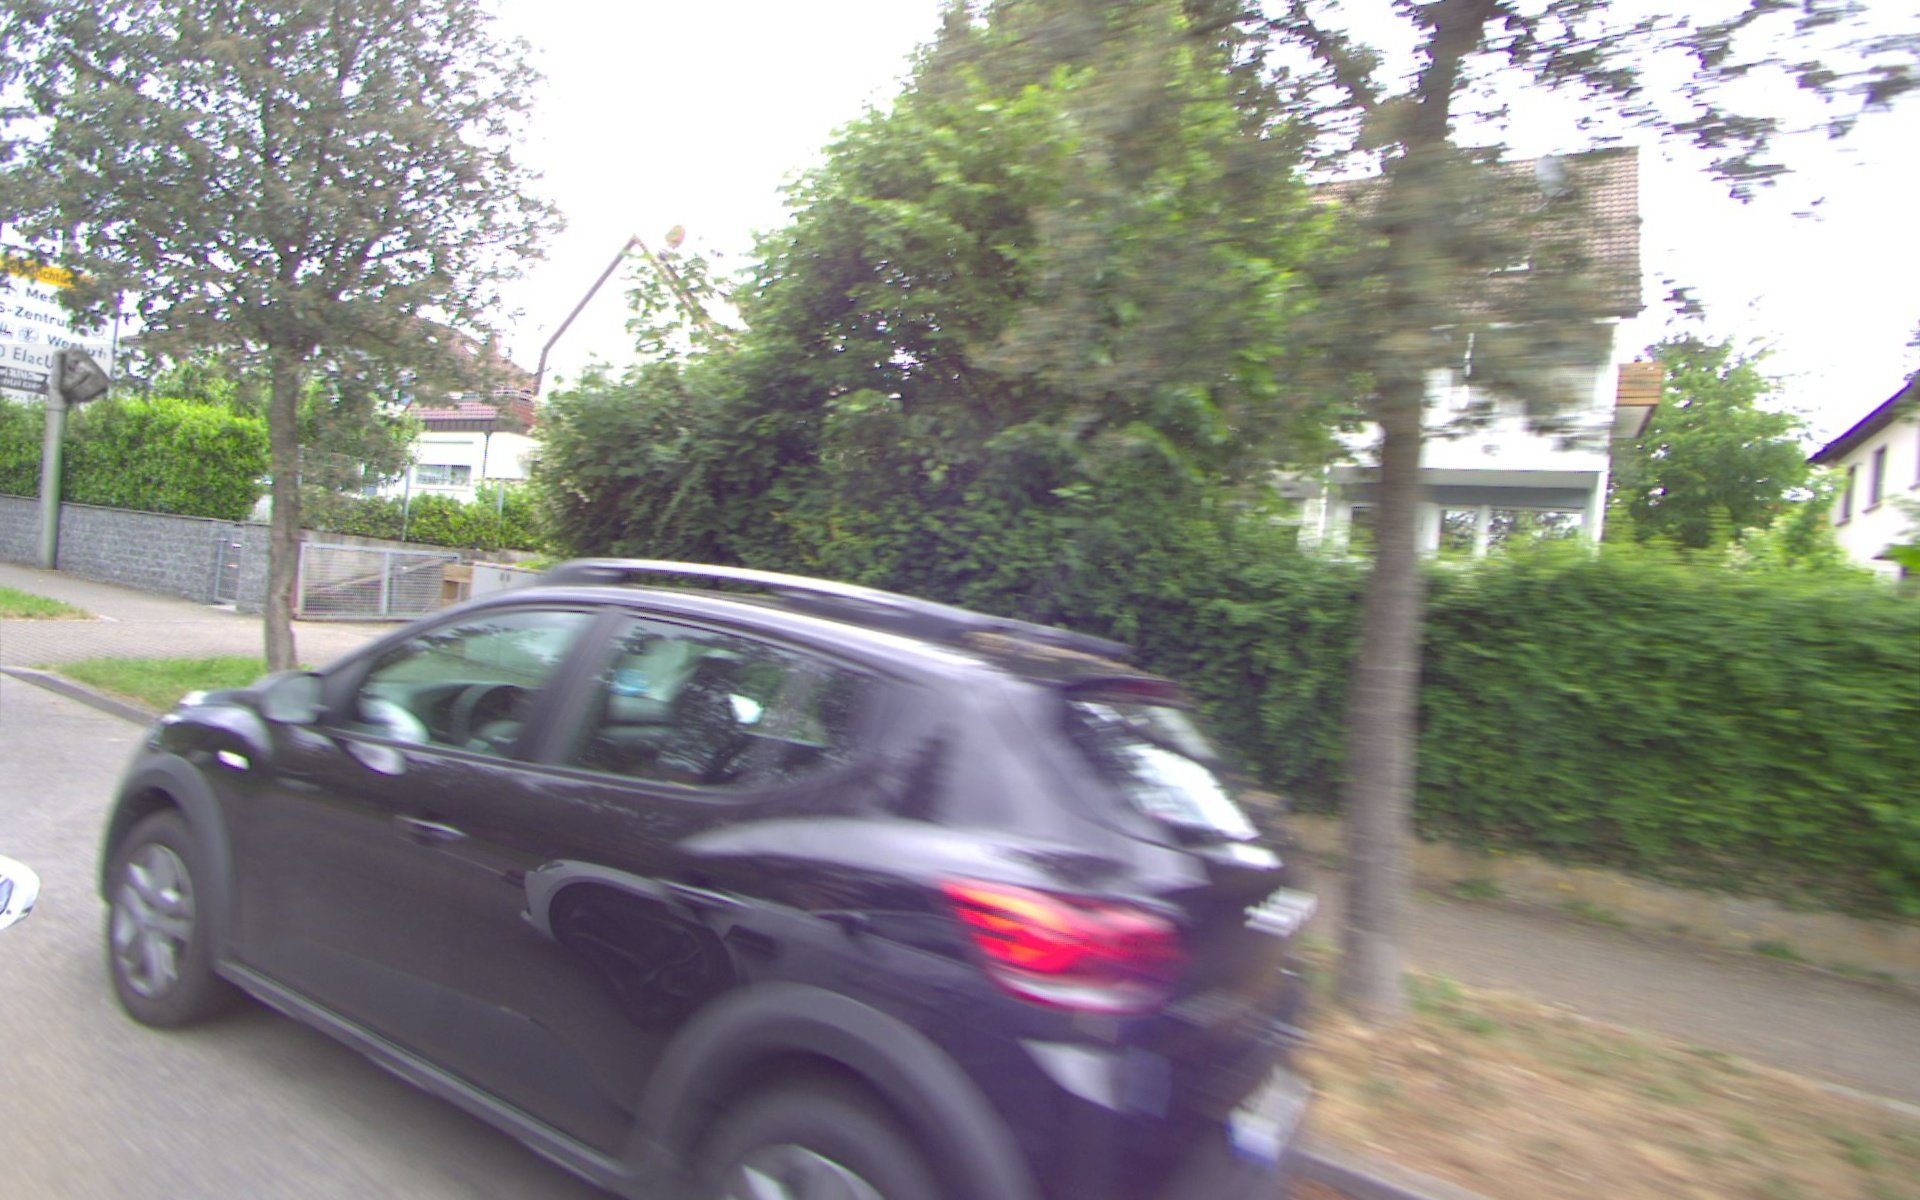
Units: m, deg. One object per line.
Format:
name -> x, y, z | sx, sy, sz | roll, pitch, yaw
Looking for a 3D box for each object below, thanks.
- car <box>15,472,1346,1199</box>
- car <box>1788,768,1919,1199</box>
car -> -1.029, 0.617, 3.205 | 3.888, 1.589, 1.698 | 7, 0, 29
car -> 3.284, 1.231, 0.434 | 4.268, 1.450, 1.699 | 7, -1, 32
